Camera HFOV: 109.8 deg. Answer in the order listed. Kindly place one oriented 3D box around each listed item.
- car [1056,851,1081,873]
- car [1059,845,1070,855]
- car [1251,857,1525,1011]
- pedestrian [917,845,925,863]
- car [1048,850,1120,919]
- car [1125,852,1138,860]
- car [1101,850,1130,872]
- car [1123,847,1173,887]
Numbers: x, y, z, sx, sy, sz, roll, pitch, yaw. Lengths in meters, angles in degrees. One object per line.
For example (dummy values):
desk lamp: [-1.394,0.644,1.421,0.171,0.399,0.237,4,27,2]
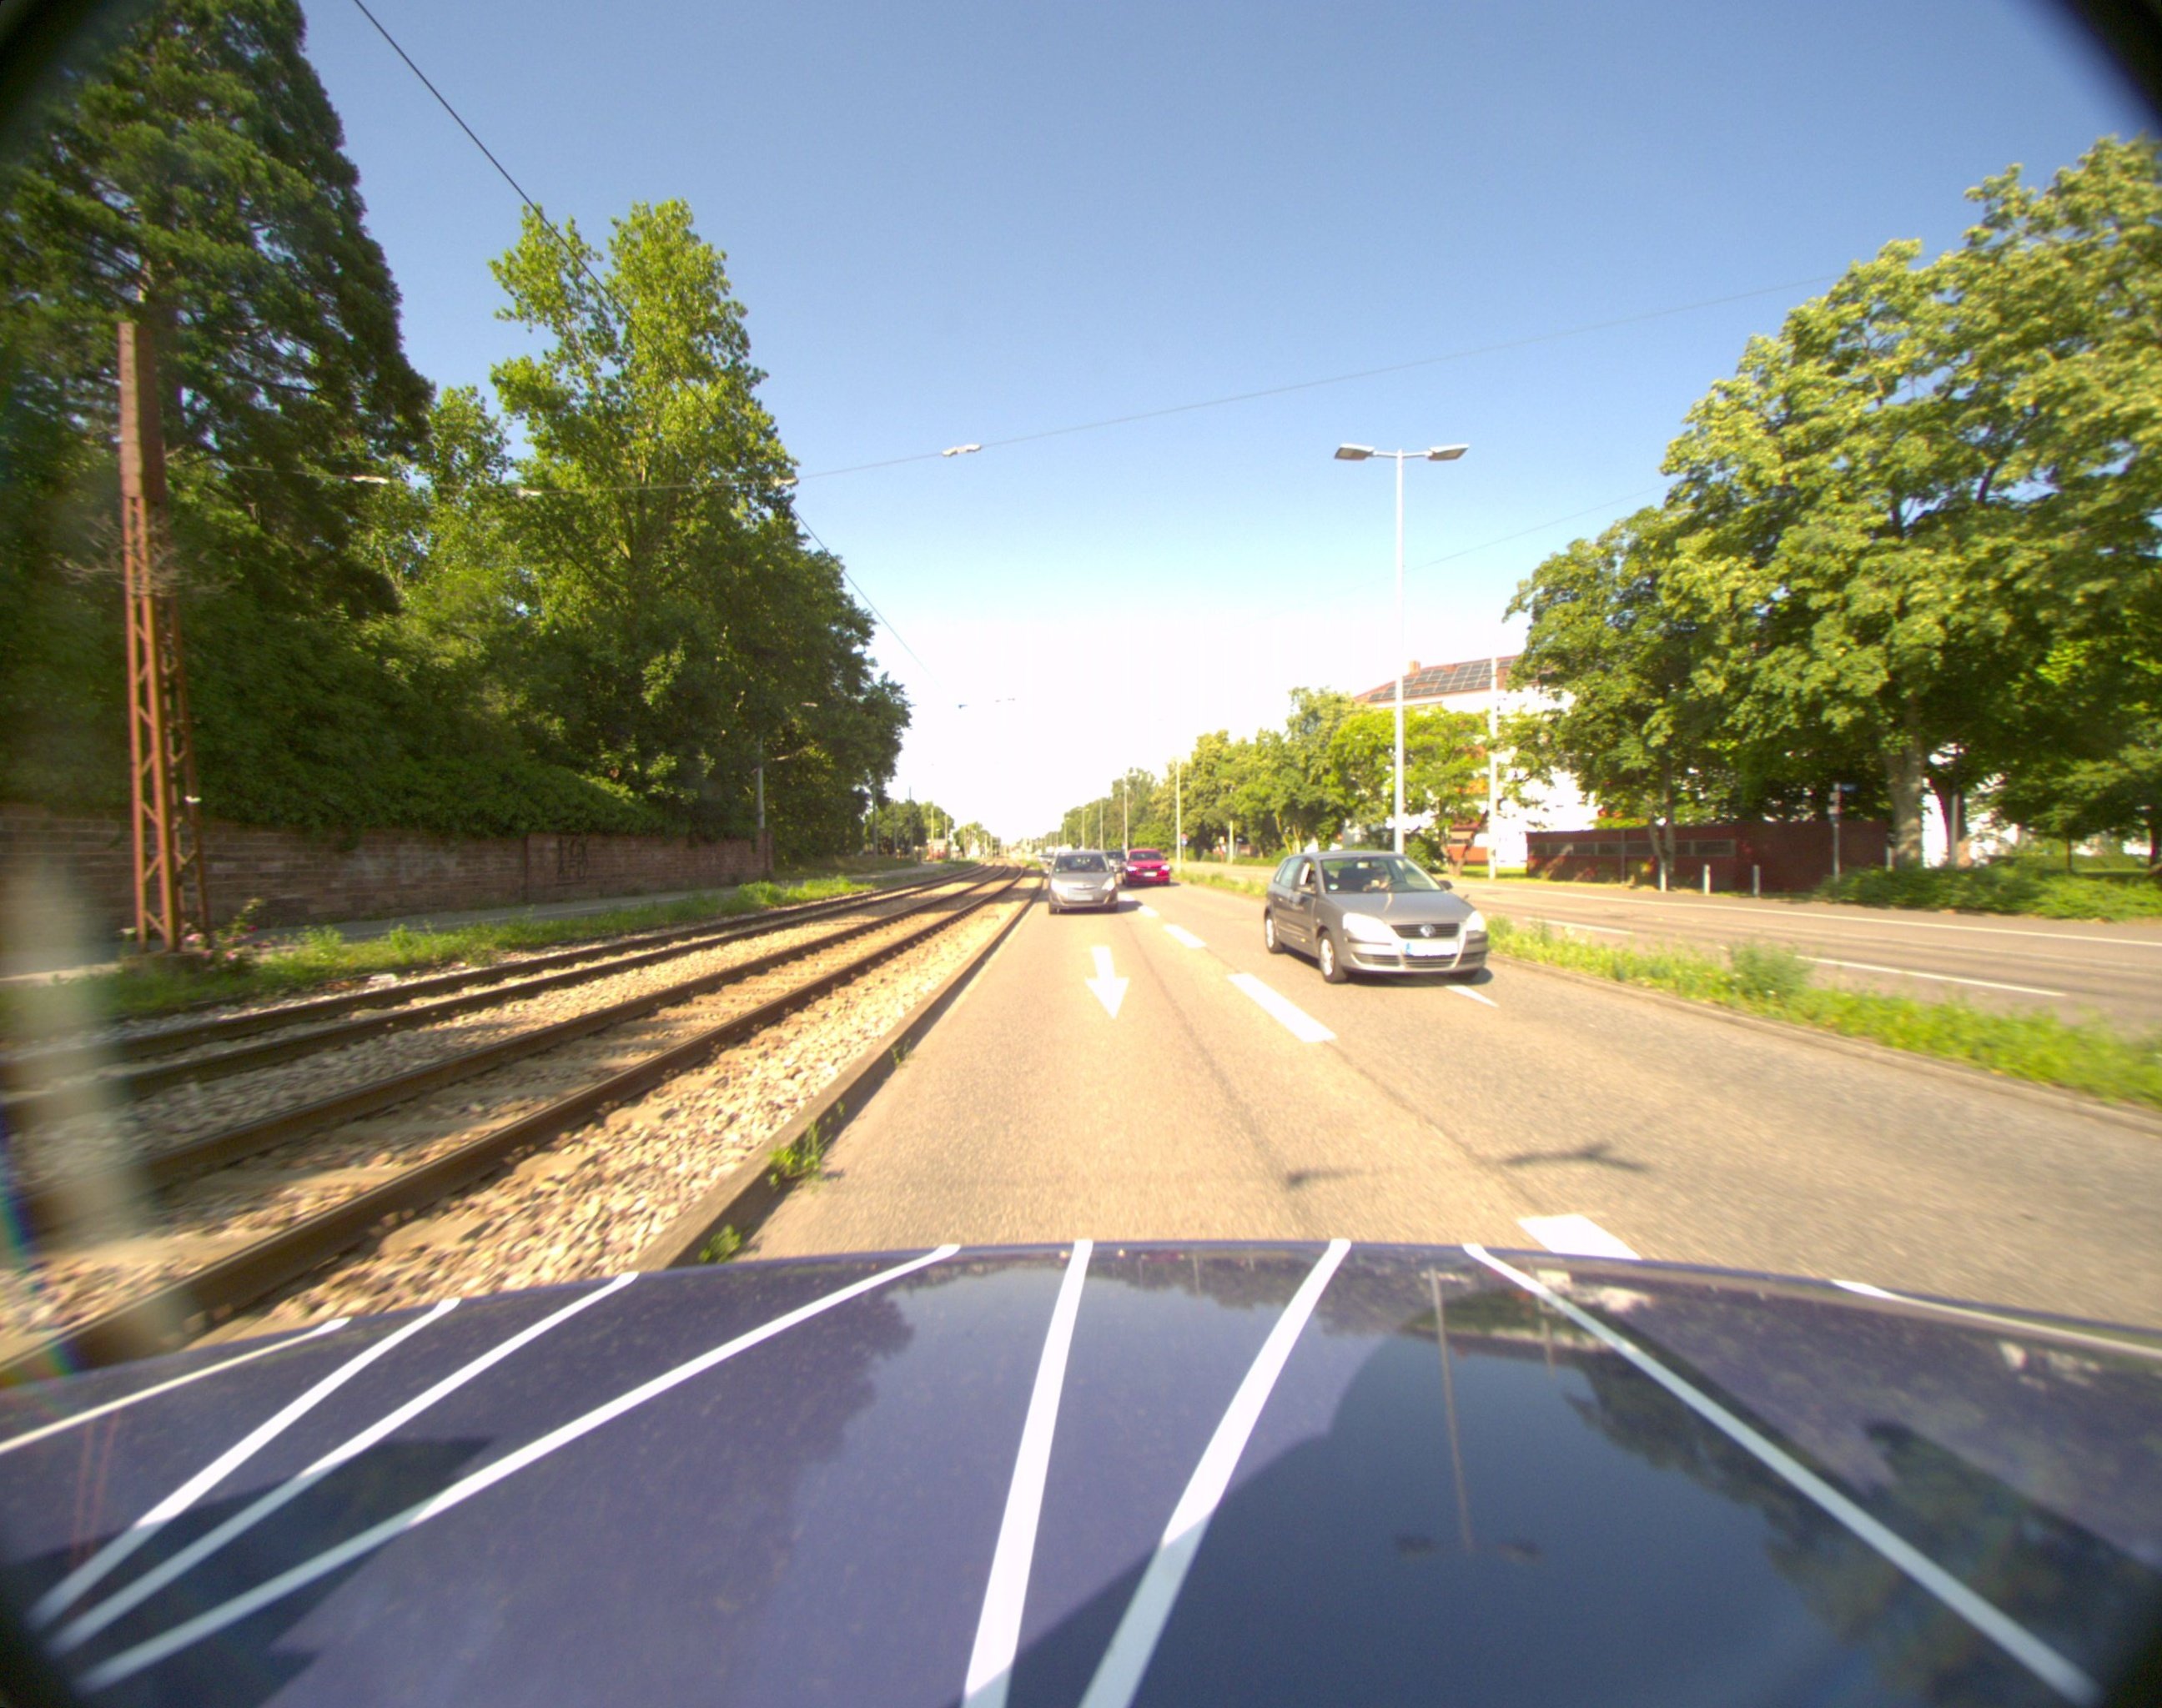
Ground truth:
car: [-0.944,0.550,56.094,1.710,1.513,3.832,-2,0,-2]
car: [-2.973,-0.704,133.437,1.710,1.513,3.831,-2,0,-4]
car: [3.444,0.785,9.364,1.693,1.420,3.832,-2,0,-2]
pedestrian: [-15.291,0.038,72.587,0.501,1.706,0.885,0,1,3]
car: [0.092,0.703,19.885,1.650,1.581,3.833,-2,0,1]
car: [8.400,0.319,127.163,1.728,1.411,4.324,0,0,-2]
car: [2.533,0.489,55.954,1.710,1.513,3.831,-2,0,-3]
car: [2.835,0.511,32.954,1.693,1.573,3.832,-2,0,-1]
